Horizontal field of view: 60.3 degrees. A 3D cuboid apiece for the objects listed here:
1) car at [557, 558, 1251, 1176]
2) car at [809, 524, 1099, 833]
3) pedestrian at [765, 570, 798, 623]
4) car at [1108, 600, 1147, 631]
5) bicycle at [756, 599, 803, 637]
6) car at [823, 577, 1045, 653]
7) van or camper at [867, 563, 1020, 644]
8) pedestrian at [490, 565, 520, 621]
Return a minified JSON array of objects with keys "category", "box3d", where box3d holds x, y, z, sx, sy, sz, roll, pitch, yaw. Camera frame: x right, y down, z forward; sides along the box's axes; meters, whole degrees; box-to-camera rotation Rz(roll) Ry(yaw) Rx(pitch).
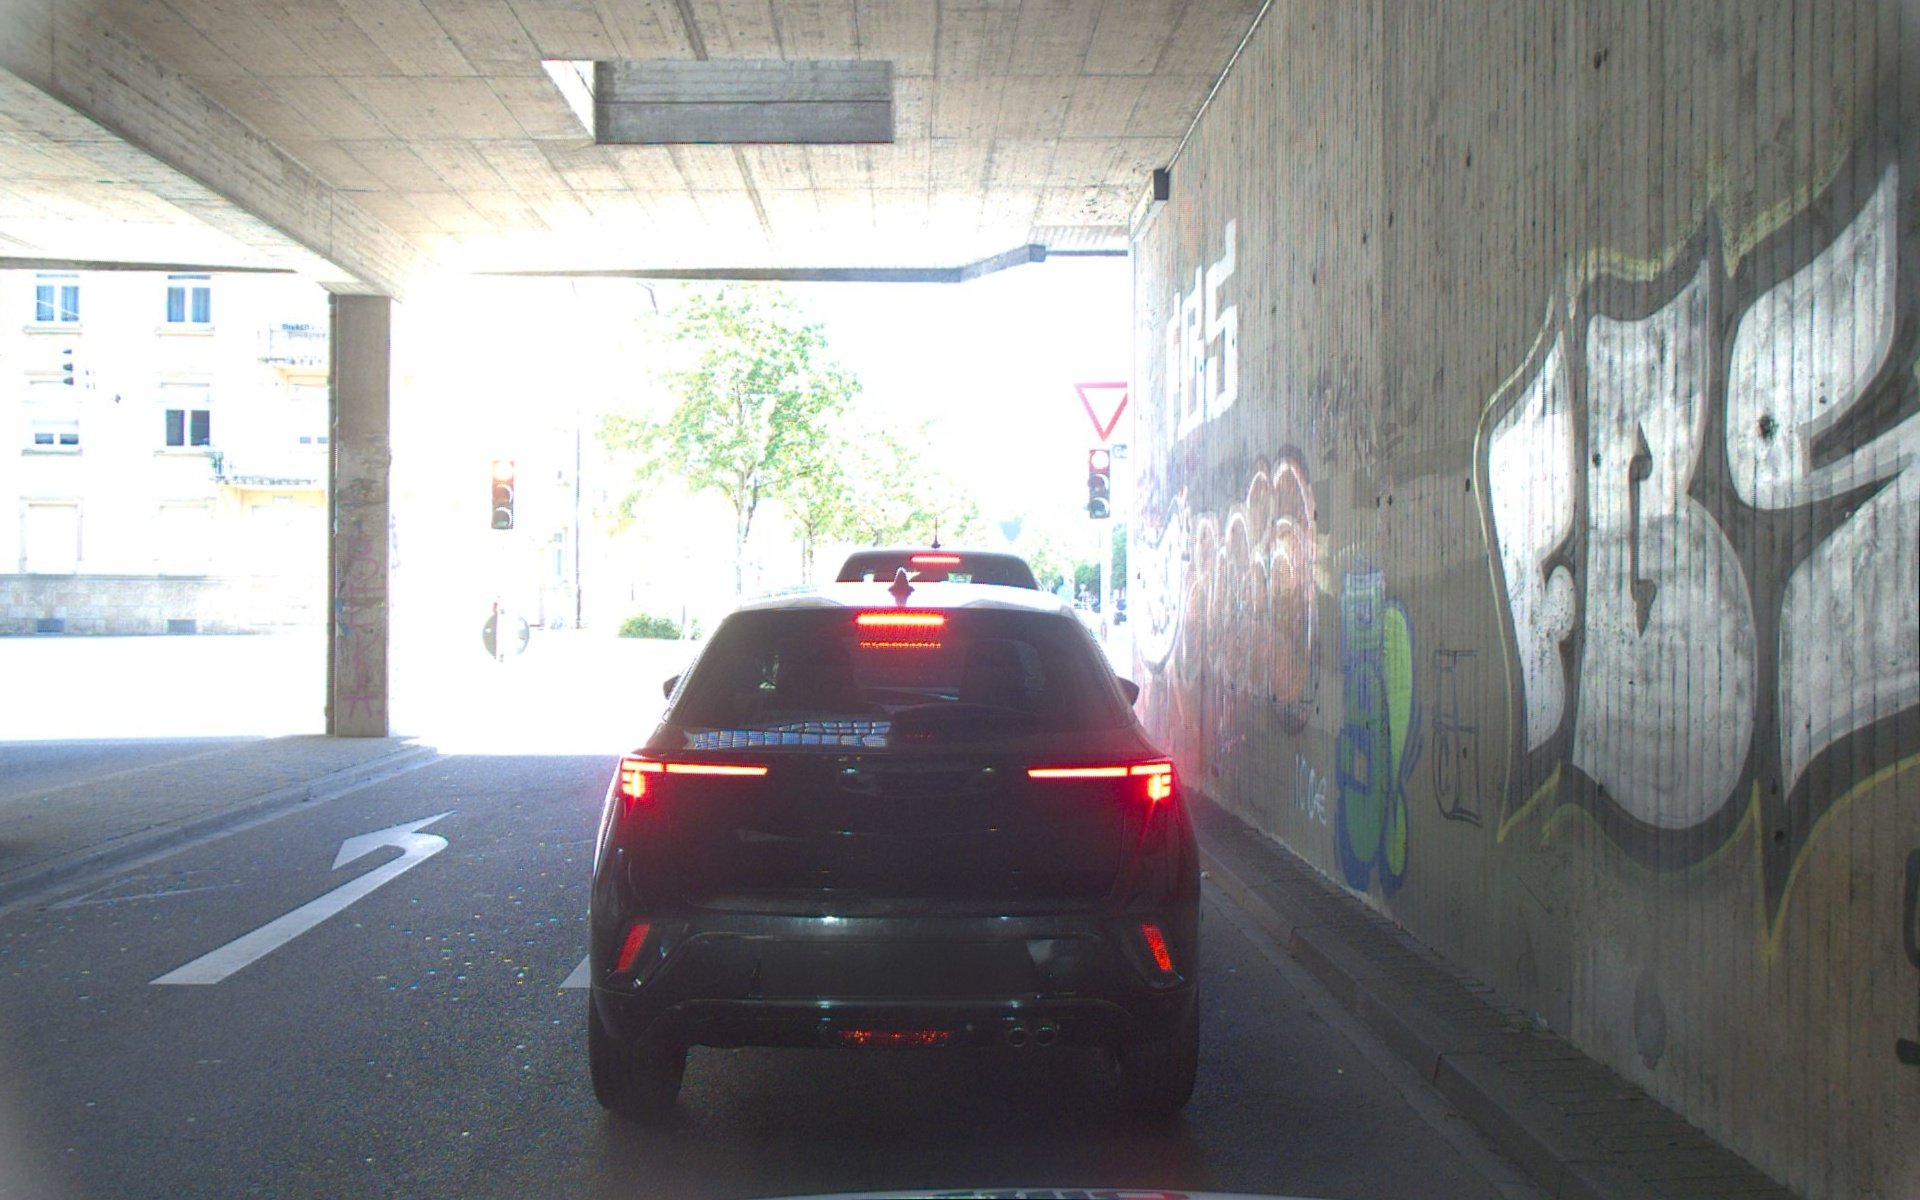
[{"category":"car","box3d":[-0.154,0.663,6.160,1.718,1.525,4.000,1,0,-1]},{"category":"car","box3d":[-0.058,0.471,12.090,1.749,1.865,3.960,1,0,-1]},{"category":"pedestrian","box3d":[-5.547,-0.099,51.334,0.720,1.612,0.891,1,-1,15]},{"category":"car","box3d":[9.433,0.842,93.005,1.951,1.670,4.597,0,0,8]},{"category":"bicycle","box3d":[-5.573,0.546,51.248,0.721,1.150,2.027,0,0,16]},{"category":"car","box3d":[-0.530,0.299,36.430,4.683,1.561,1.974,0,0,-37]},{"category":"van or camper","box3d":[-0.393,0.082,43.302,3.795,2.049,2.002,0,0,7]},{"category":"pedestrian","box3d":[-14.273,-0.204,51.941,0.609,1.734,0.724,1,-1,11]}]
